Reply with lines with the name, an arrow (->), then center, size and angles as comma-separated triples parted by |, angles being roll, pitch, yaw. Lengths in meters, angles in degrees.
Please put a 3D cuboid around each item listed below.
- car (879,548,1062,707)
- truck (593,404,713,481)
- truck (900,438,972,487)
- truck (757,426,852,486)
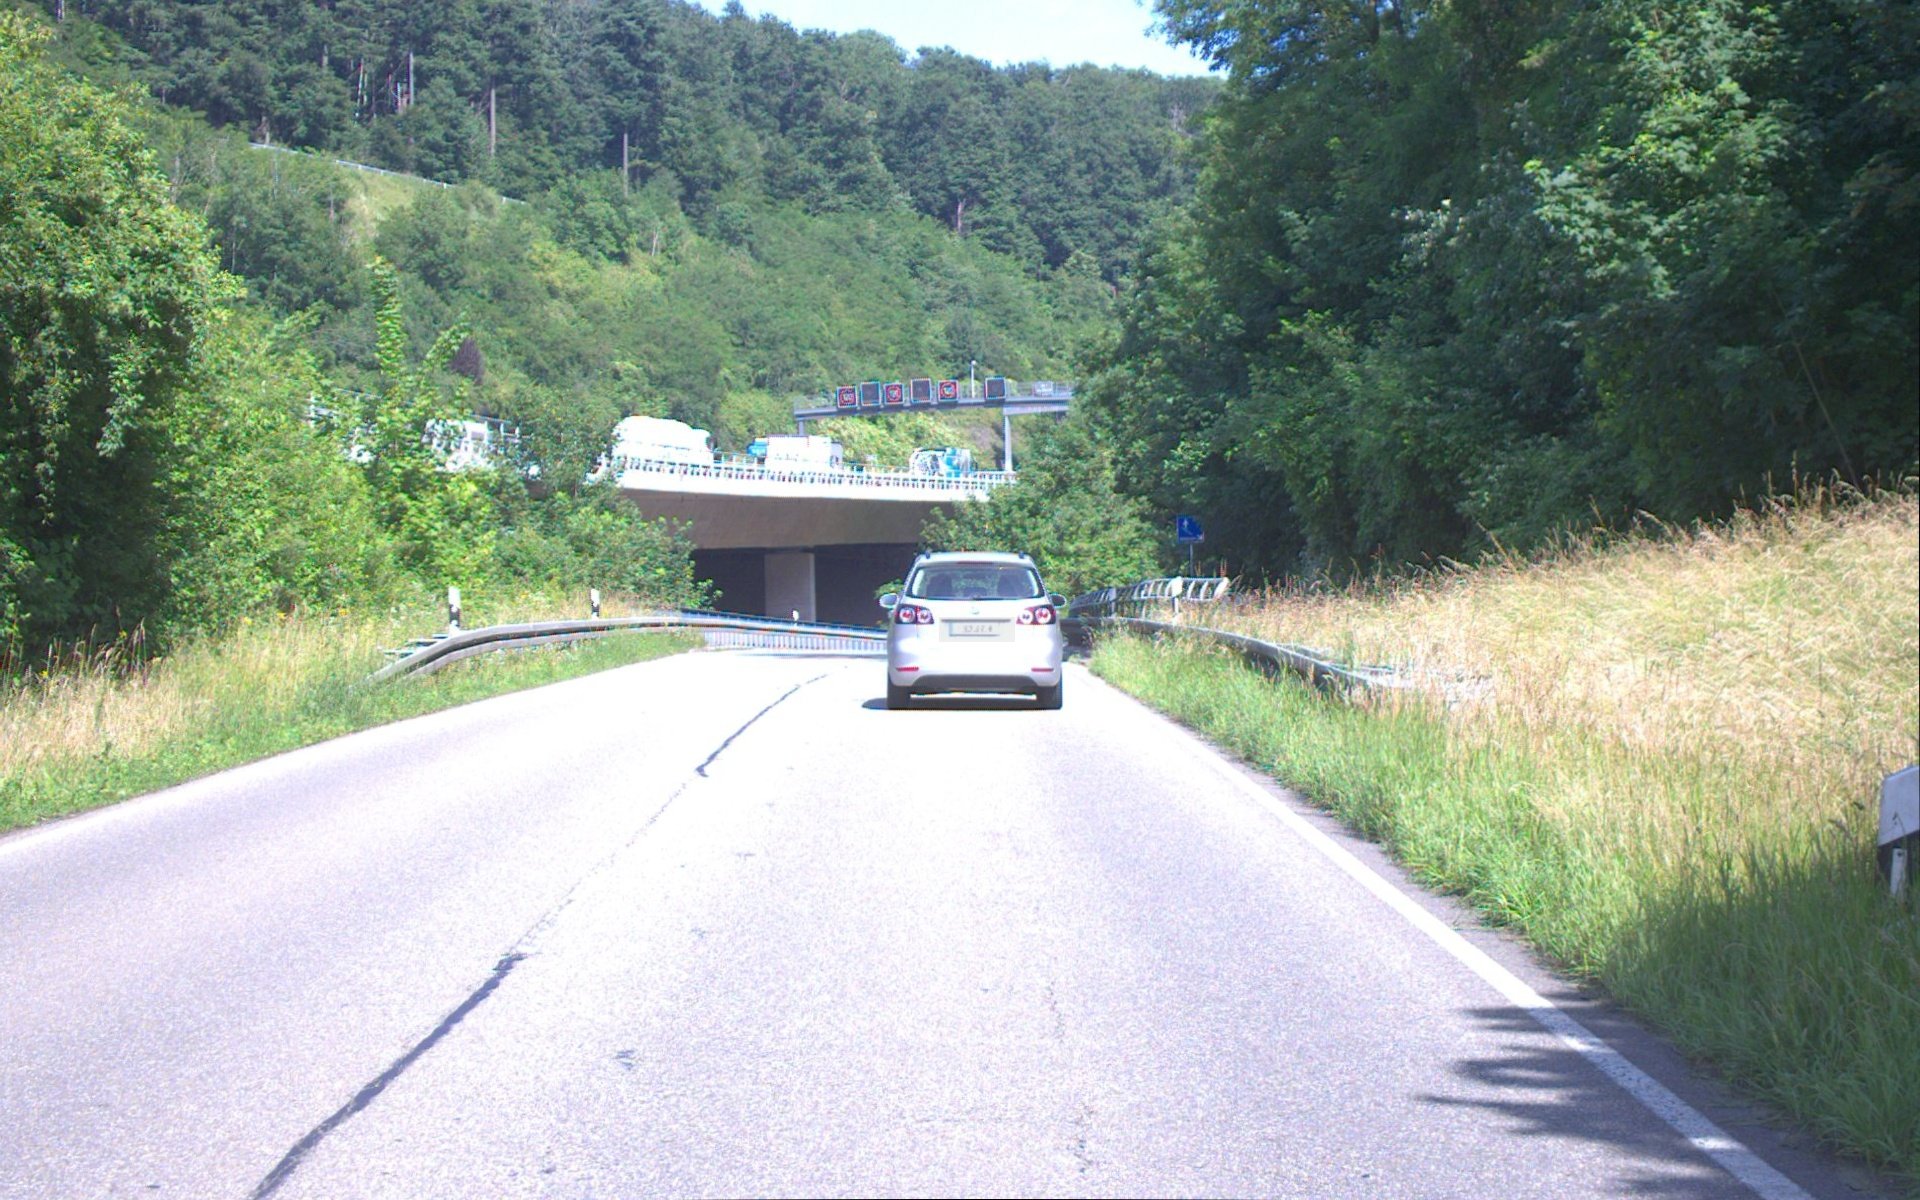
car -> 0.130, 0.266, 34.948 | 1.751, 1.515, 4.159 | 0, 0, 1
truck -> -14.852, -7.610, 167.429 | 3.371, 3.343, 10.172 | 1, 1, 9
truck -> -1.697, -10.110, 254.087 | 3.542, 3.412, 9.895 | 0, 1, 10
truck -> -9.410, -8.745, 209.755 | 3.760, 3.373, 10.504 | 0, 1, 9
